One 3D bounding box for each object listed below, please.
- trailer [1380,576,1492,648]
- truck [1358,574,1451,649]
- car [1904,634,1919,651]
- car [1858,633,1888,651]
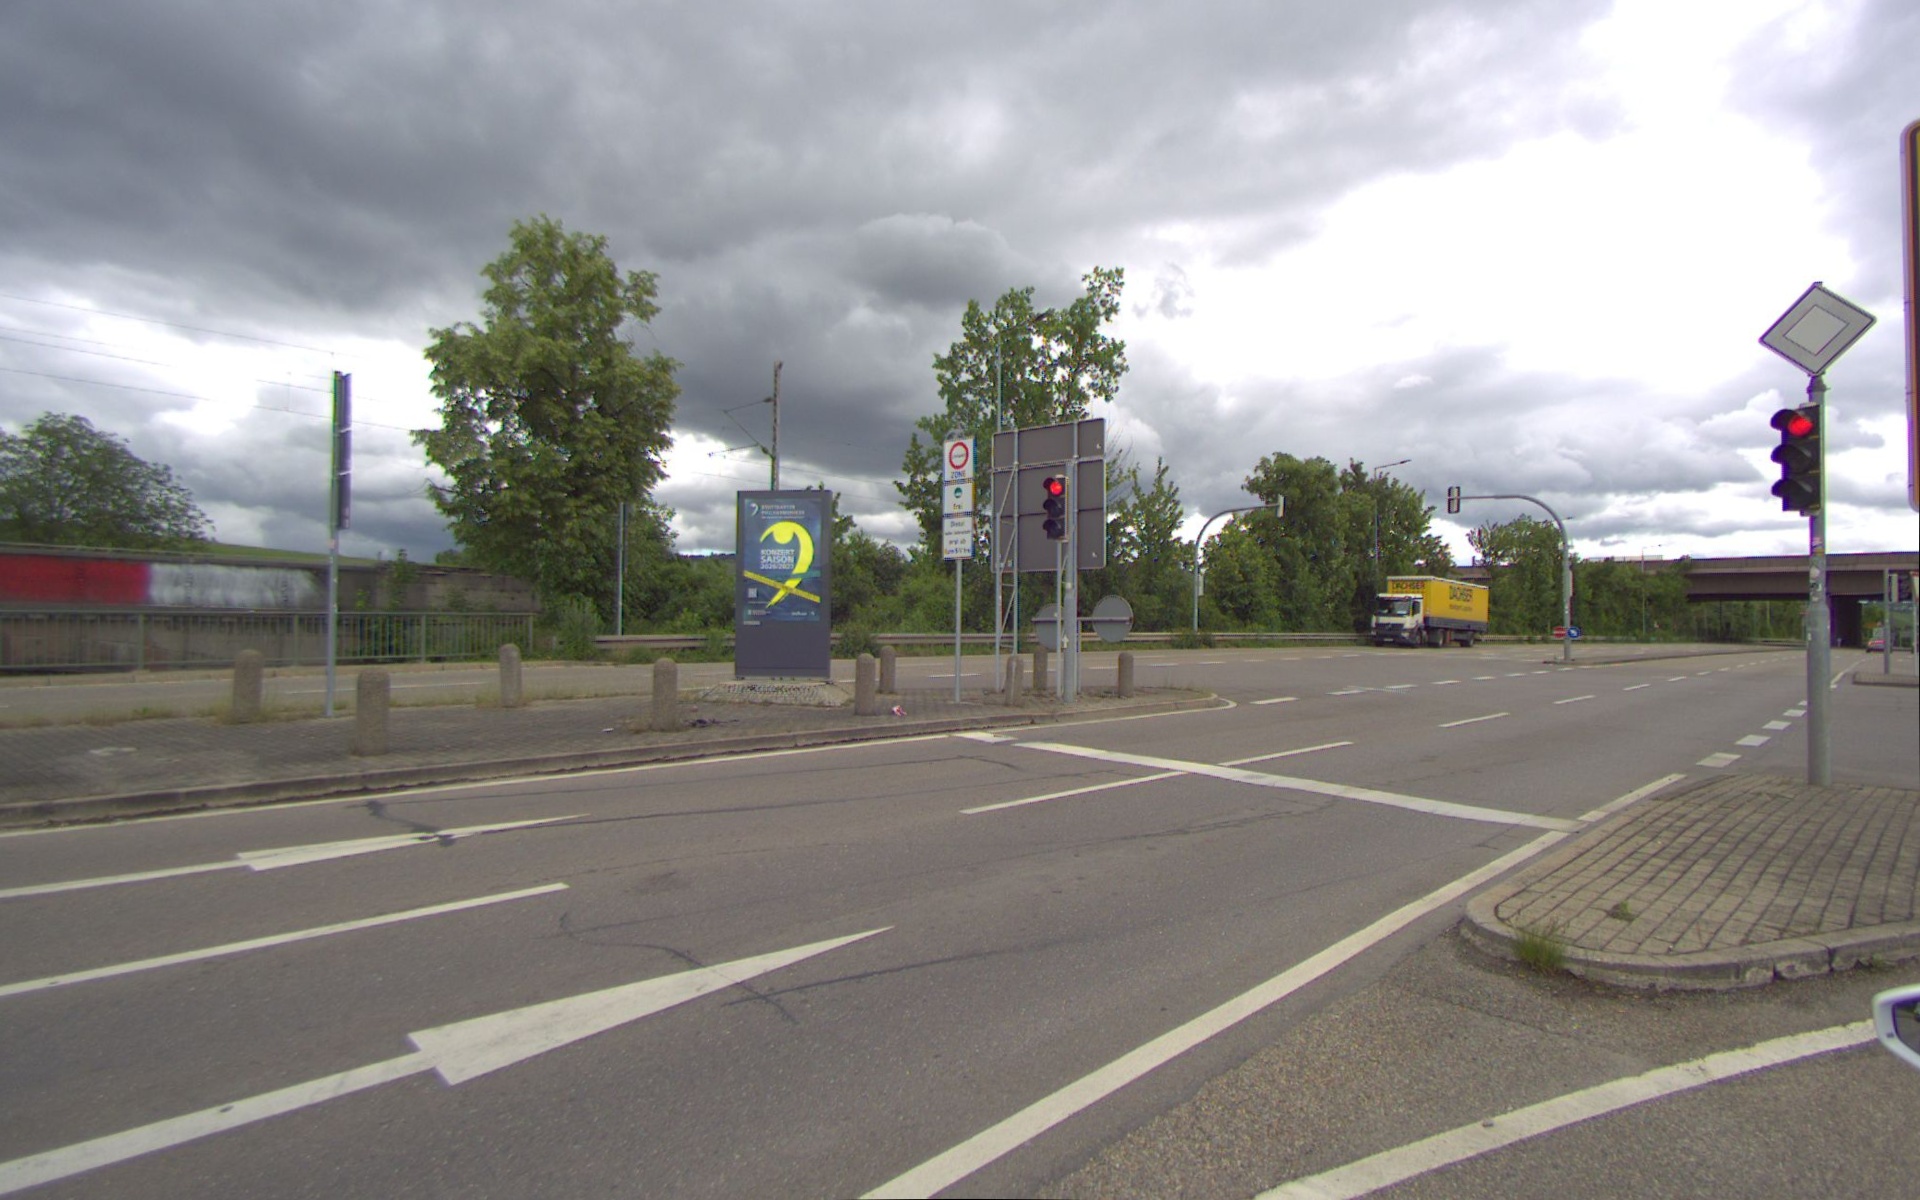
[{"bbox_3d":[30.339,0.740,63.628,2.841,4.139,11.357,3,1,44],"label":"trailer"},{"bbox_3d":[26.438,0.647,59.589,2.842,4.139,6.446,3,1,45],"label":"truck"},{"bbox_3d":[93.128,4.131,97.579,1.972,1.483,4.087,1,-2,43],"label":"car"},{"bbox_3d":[86.544,3.977,95.234,1.972,1.461,4.086,1,-2,44],"label":"car"}]
